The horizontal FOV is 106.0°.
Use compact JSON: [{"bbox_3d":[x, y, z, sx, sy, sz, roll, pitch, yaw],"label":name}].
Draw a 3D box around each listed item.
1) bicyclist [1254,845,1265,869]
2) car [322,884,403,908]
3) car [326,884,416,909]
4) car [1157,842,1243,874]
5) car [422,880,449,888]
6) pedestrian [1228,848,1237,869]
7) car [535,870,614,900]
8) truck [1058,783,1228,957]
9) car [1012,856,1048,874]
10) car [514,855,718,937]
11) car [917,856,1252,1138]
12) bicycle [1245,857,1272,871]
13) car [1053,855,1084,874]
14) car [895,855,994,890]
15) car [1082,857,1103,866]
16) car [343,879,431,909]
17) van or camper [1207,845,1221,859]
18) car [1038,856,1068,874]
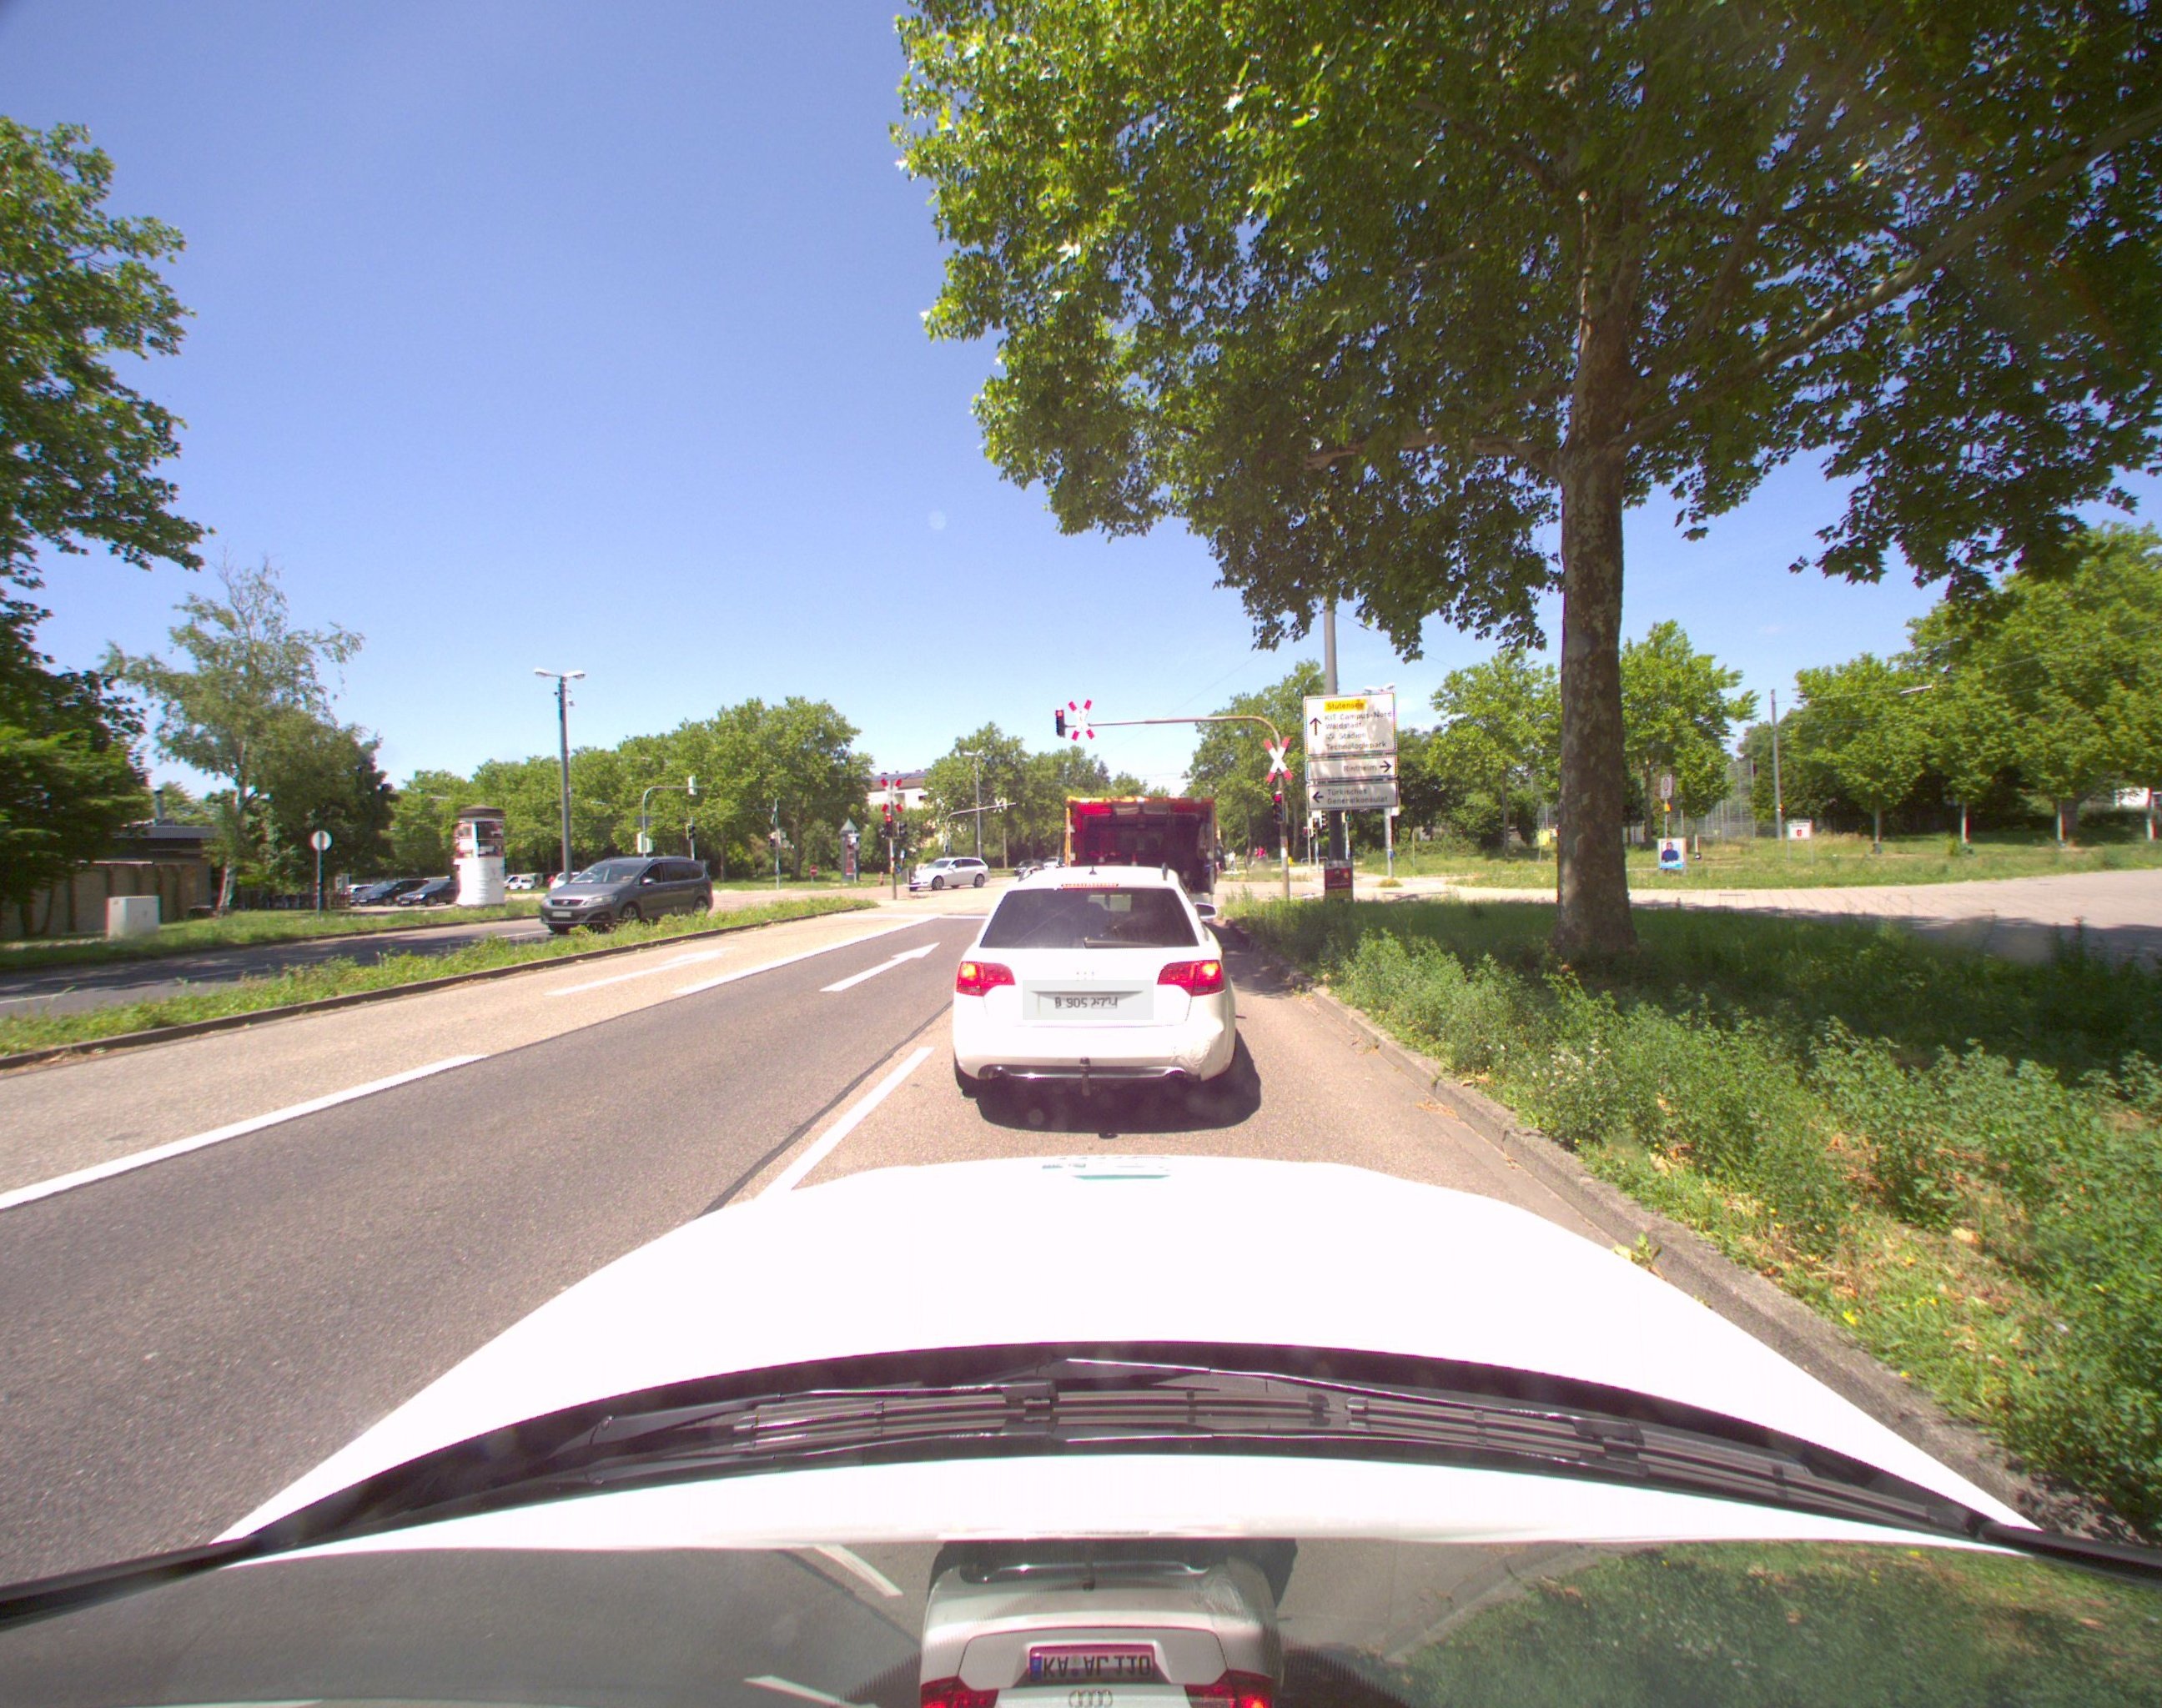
[{"bbox_3d":[12.192,0.209,55.675,0.667,1.556,0.581,-2,0,10],"label":"bicyclist"},{"bbox_3d":[-51.828,3.023,58.856,1.930,1.423,4.070,-2,0,8],"label":"car"},{"bbox_3d":[-47.531,2.806,54.657,1.863,1.412,4.396,-2,0,6],"label":"car"},{"bbox_3d":[6.767,0.217,46.378,4.431,1.679,1.910,-2,0,-11],"label":"car"},{"bbox_3d":[-88.137,4.107,111.243,0.996,0.994,2.738,-2,0,31],"label":"car"},{"bbox_3d":[10.880,0.348,58.417,0.548,1.484,0.632,-2,0,18],"label":"pedestrian"},{"bbox_3d":[-29.285,1.807,47.045,4.403,1.604,2.231,-2,0,34],"label":"car"},{"bbox_3d":[1.246,0.252,15.871,2.499,2.559,7.613,0,0,5],"label":"truck"},{"bbox_3d":[-4.570,0.956,73.795,1.935,1.440,4.764,-1,1,14],"label":"car"},{"bbox_3d":[-10.907,0.900,19.606,1.940,1.656,4.627,-2,0,4],"label":"car"},{"bbox_3d":[0.193,0.760,6.109,1.754,1.445,3.622,-1,0,6],"label":"car"},{"bbox_3d":[12.125,0.674,55.690,1.794,0.895,0.590,-2,0,10],"label":"bicycle"},{"bbox_3d":[-1.126,0.922,74.328,1.897,1.539,4.312,-2,0,11],"label":"car"},{"bbox_3d":[-6.262,0.832,37.886,1.835,1.418,4.577,-2,0,34],"label":"car"},{"bbox_3d":[2.013,1.304,139.385,1.864,1.393,4.025,-2,0,28],"label":"car"},{"bbox_3d":[-44.798,2.553,52.719,1.769,1.651,4.201,-2,0,6],"label":"car"},{"bbox_3d":[32.778,-0.495,200.859,2.640,3.331,5.524,-2,0,16],"label":"van or camper"},{"bbox_3d":[-2.733,1.039,81.019,1.774,1.615,4.421,-2,0,14],"label":"car"}]
